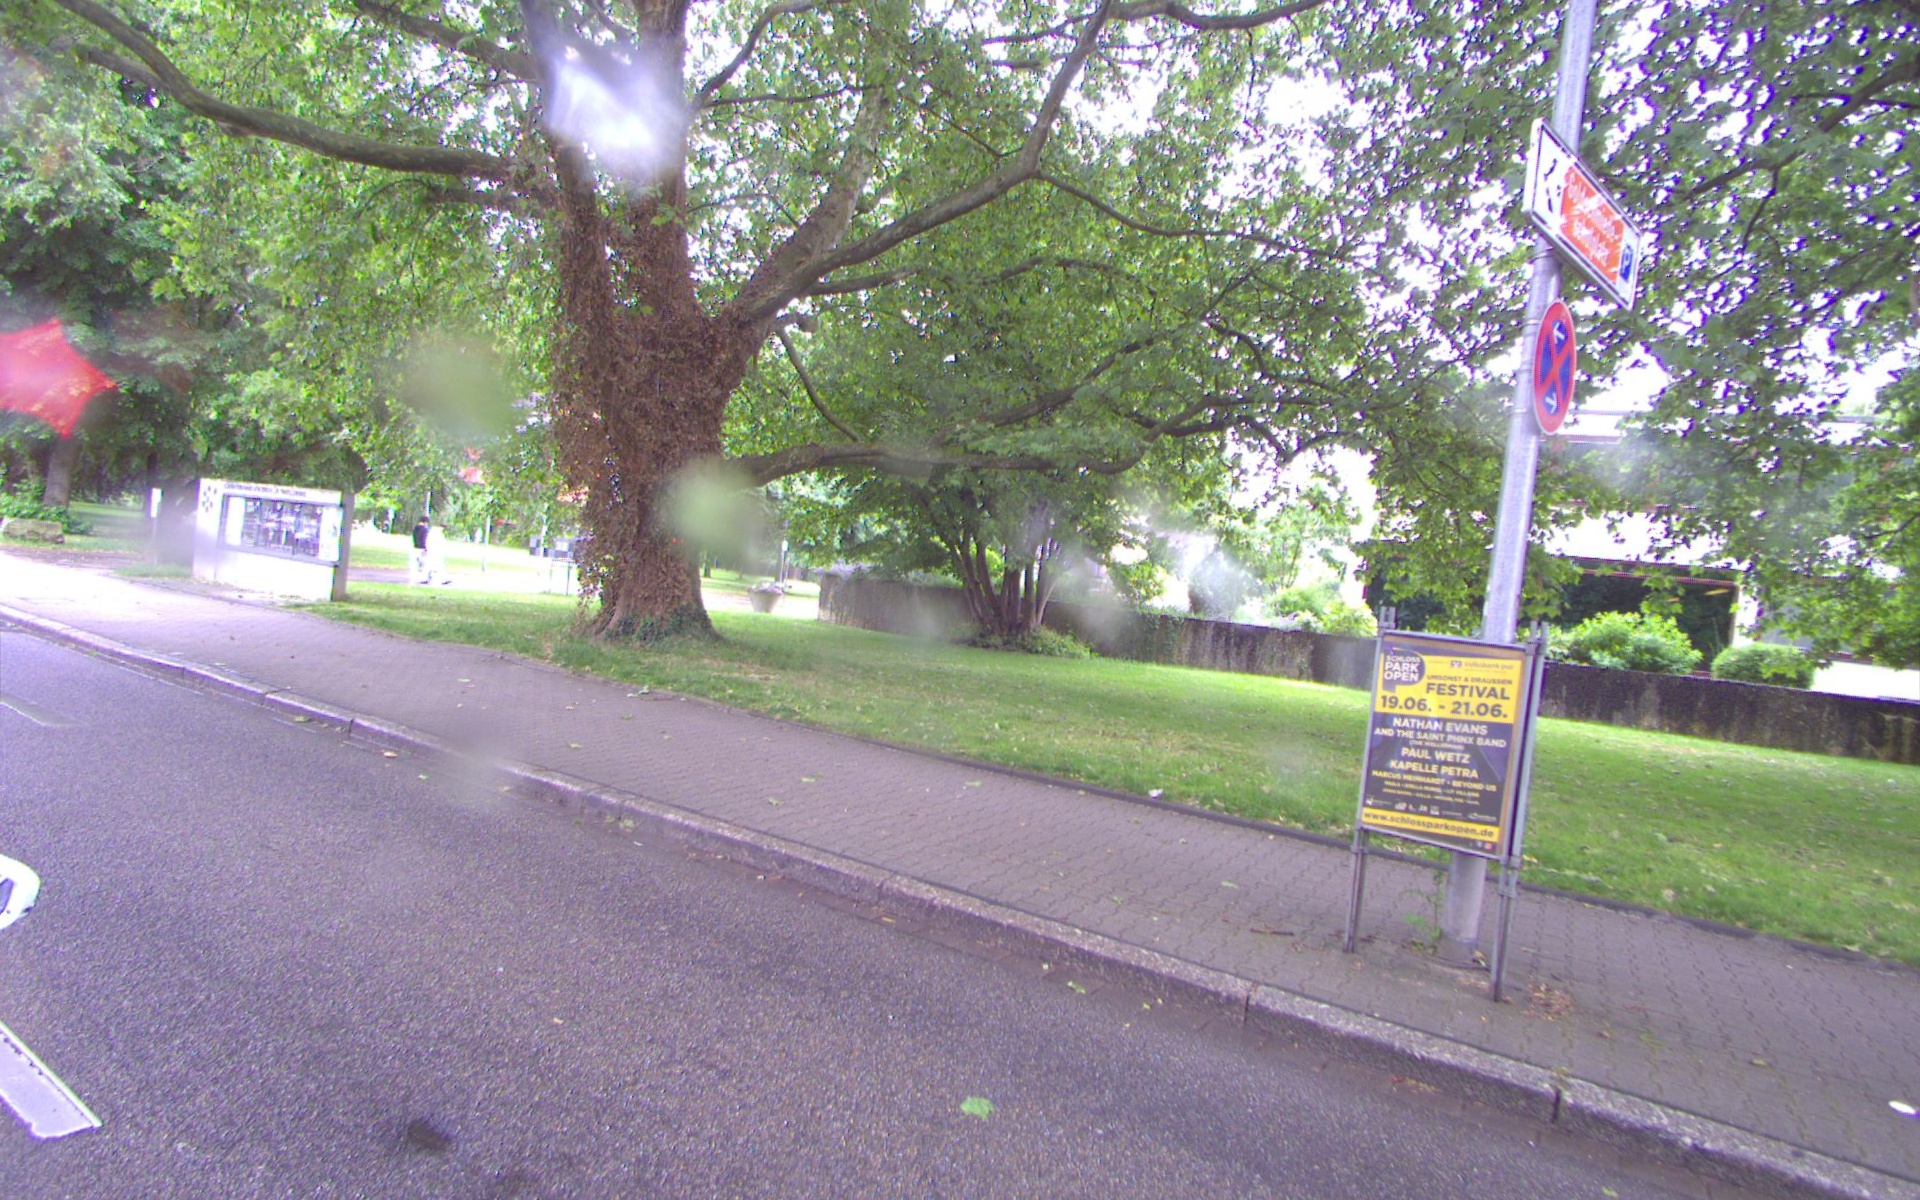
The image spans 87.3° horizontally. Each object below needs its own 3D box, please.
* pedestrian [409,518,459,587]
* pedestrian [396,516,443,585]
[{"bbox_3d":[-14.317,-1.290,27.382,0.776,1.732,0.666,7,-1,23],"label":"pedestrian"},{"bbox_3d":[-15.009,-1.360,27.942,0.711,1.776,0.666,7,-1,23],"label":"pedestrian"}]
